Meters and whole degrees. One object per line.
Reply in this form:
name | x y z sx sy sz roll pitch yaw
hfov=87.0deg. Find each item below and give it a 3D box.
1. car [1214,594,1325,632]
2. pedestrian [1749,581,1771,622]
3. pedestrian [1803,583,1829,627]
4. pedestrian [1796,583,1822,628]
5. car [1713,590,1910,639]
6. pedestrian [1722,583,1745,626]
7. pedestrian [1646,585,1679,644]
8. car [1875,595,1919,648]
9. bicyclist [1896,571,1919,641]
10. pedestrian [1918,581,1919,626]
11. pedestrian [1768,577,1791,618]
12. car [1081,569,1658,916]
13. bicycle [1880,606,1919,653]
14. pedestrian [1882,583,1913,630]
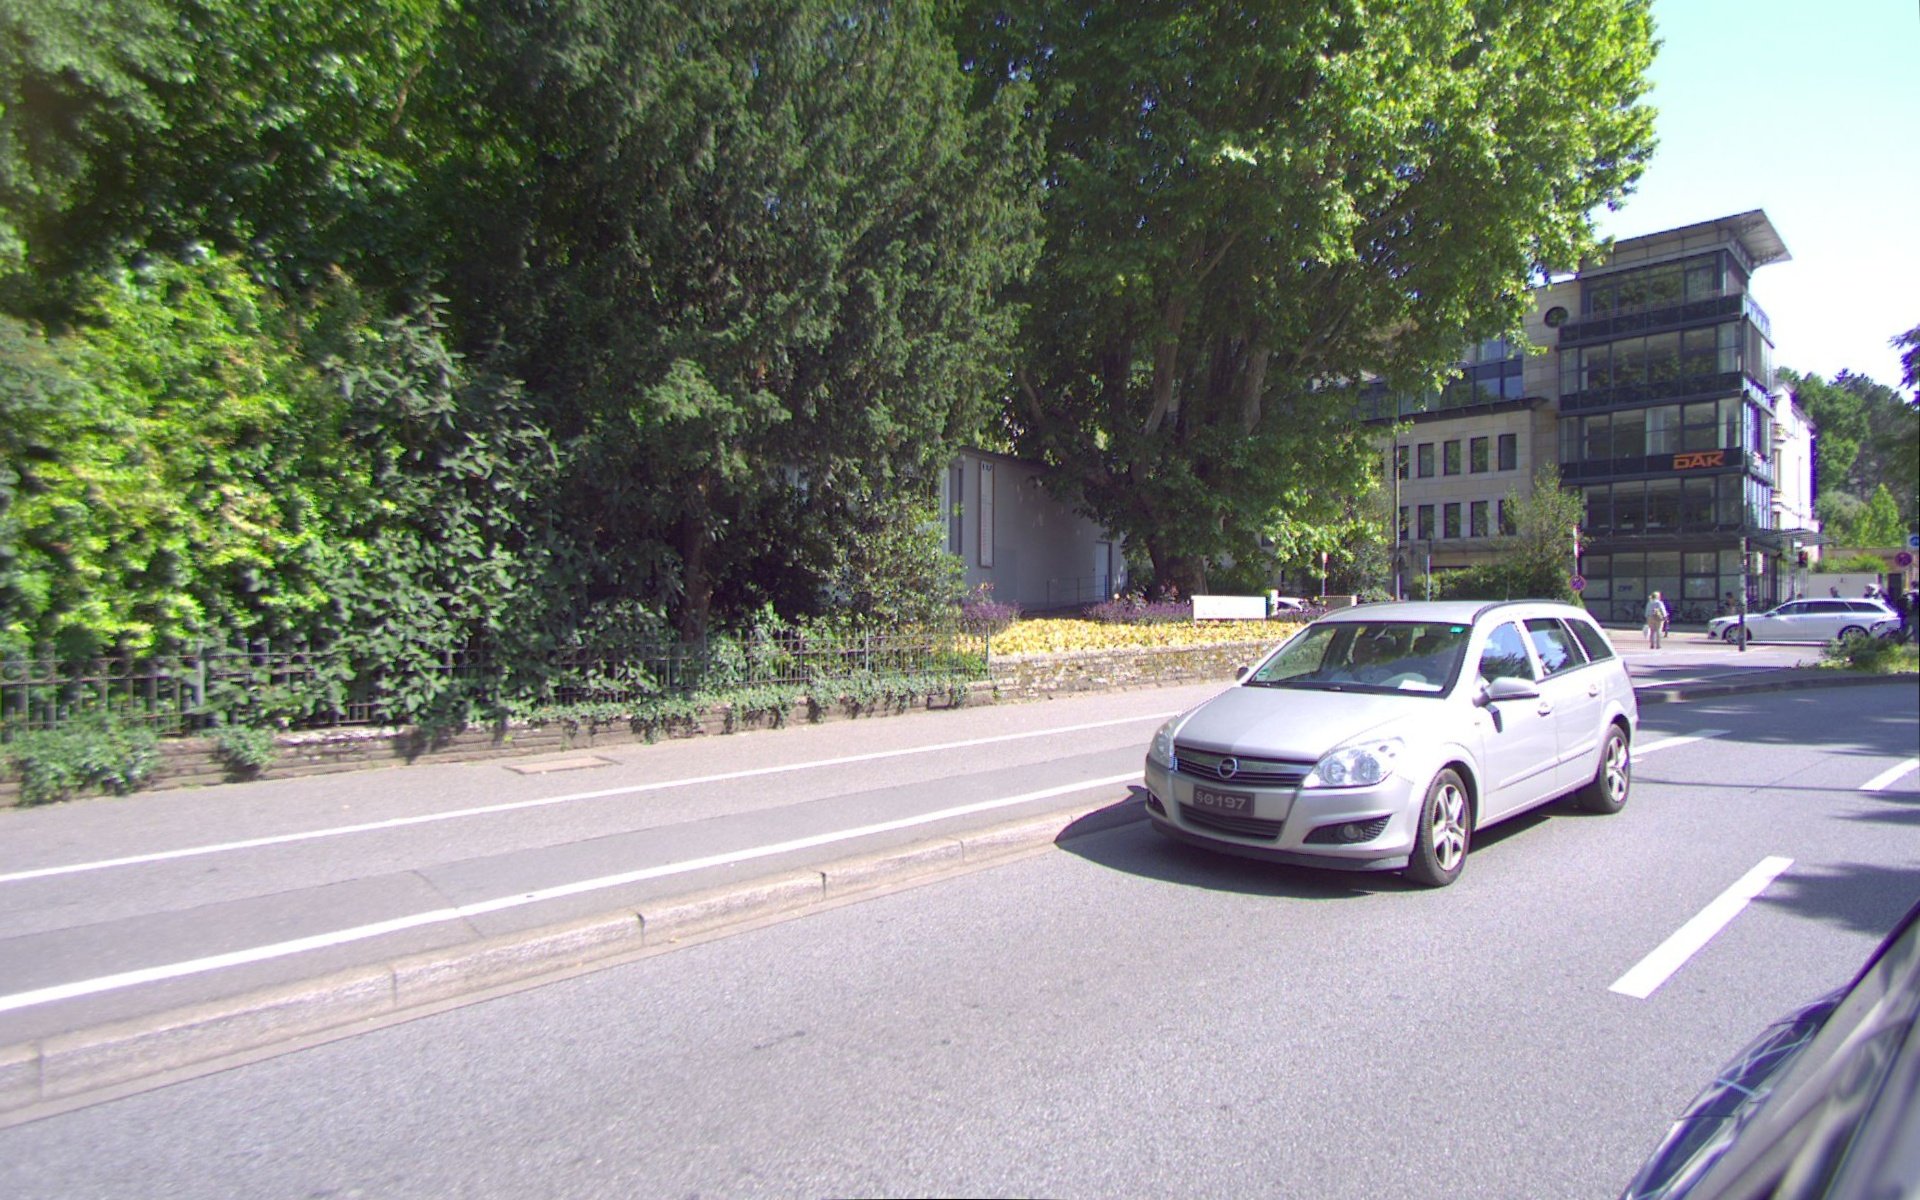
car | 12.572 0.508 41.207 3.937 1.470 1.784 -1 -1 42
pedestrian | 34.084 0.049 43.123 0.593 1.727 0.602 0 -1 -38
pedestrian | 33.893 0.189 40.078 0.676 1.727 0.604 0 -1 -33
pedestrian | 33.186 0.201 39.562 0.634 1.727 0.653 0 -1 -38
car | 26.931 0.450 32.169 4.668 1.470 1.784 -1 -1 42
pedestrian | 31.462 0.174 41.161 0.688 1.727 0.593 -1 -1 44
pedestrian | 20.608 0.410 29.698 0.709 1.694 0.526 -1 -1 44
car | 27.772 0.571 27.722 3.937 1.470 1.784 -2 -1 42
bicyclist | 22.780 0.144 23.950 0.717 1.633 0.712 0 -1 -26
pedestrian | 37.418 0.135 39.026 0.593 1.727 0.602 0 -1 -38
pedestrian | 34.810 -0.086 42.999 0.593 1.727 0.602 0 -1 -38
car | 2.879 0.652 6.581 4.329 1.542 1.710 1 -1 -41
bicycle | 22.741 0.672 23.910 2.162 1.068 0.712 0 0 -26
pedestrian | 35.014 0.230 37.802 0.590 1.727 0.702 0 -1 -30
